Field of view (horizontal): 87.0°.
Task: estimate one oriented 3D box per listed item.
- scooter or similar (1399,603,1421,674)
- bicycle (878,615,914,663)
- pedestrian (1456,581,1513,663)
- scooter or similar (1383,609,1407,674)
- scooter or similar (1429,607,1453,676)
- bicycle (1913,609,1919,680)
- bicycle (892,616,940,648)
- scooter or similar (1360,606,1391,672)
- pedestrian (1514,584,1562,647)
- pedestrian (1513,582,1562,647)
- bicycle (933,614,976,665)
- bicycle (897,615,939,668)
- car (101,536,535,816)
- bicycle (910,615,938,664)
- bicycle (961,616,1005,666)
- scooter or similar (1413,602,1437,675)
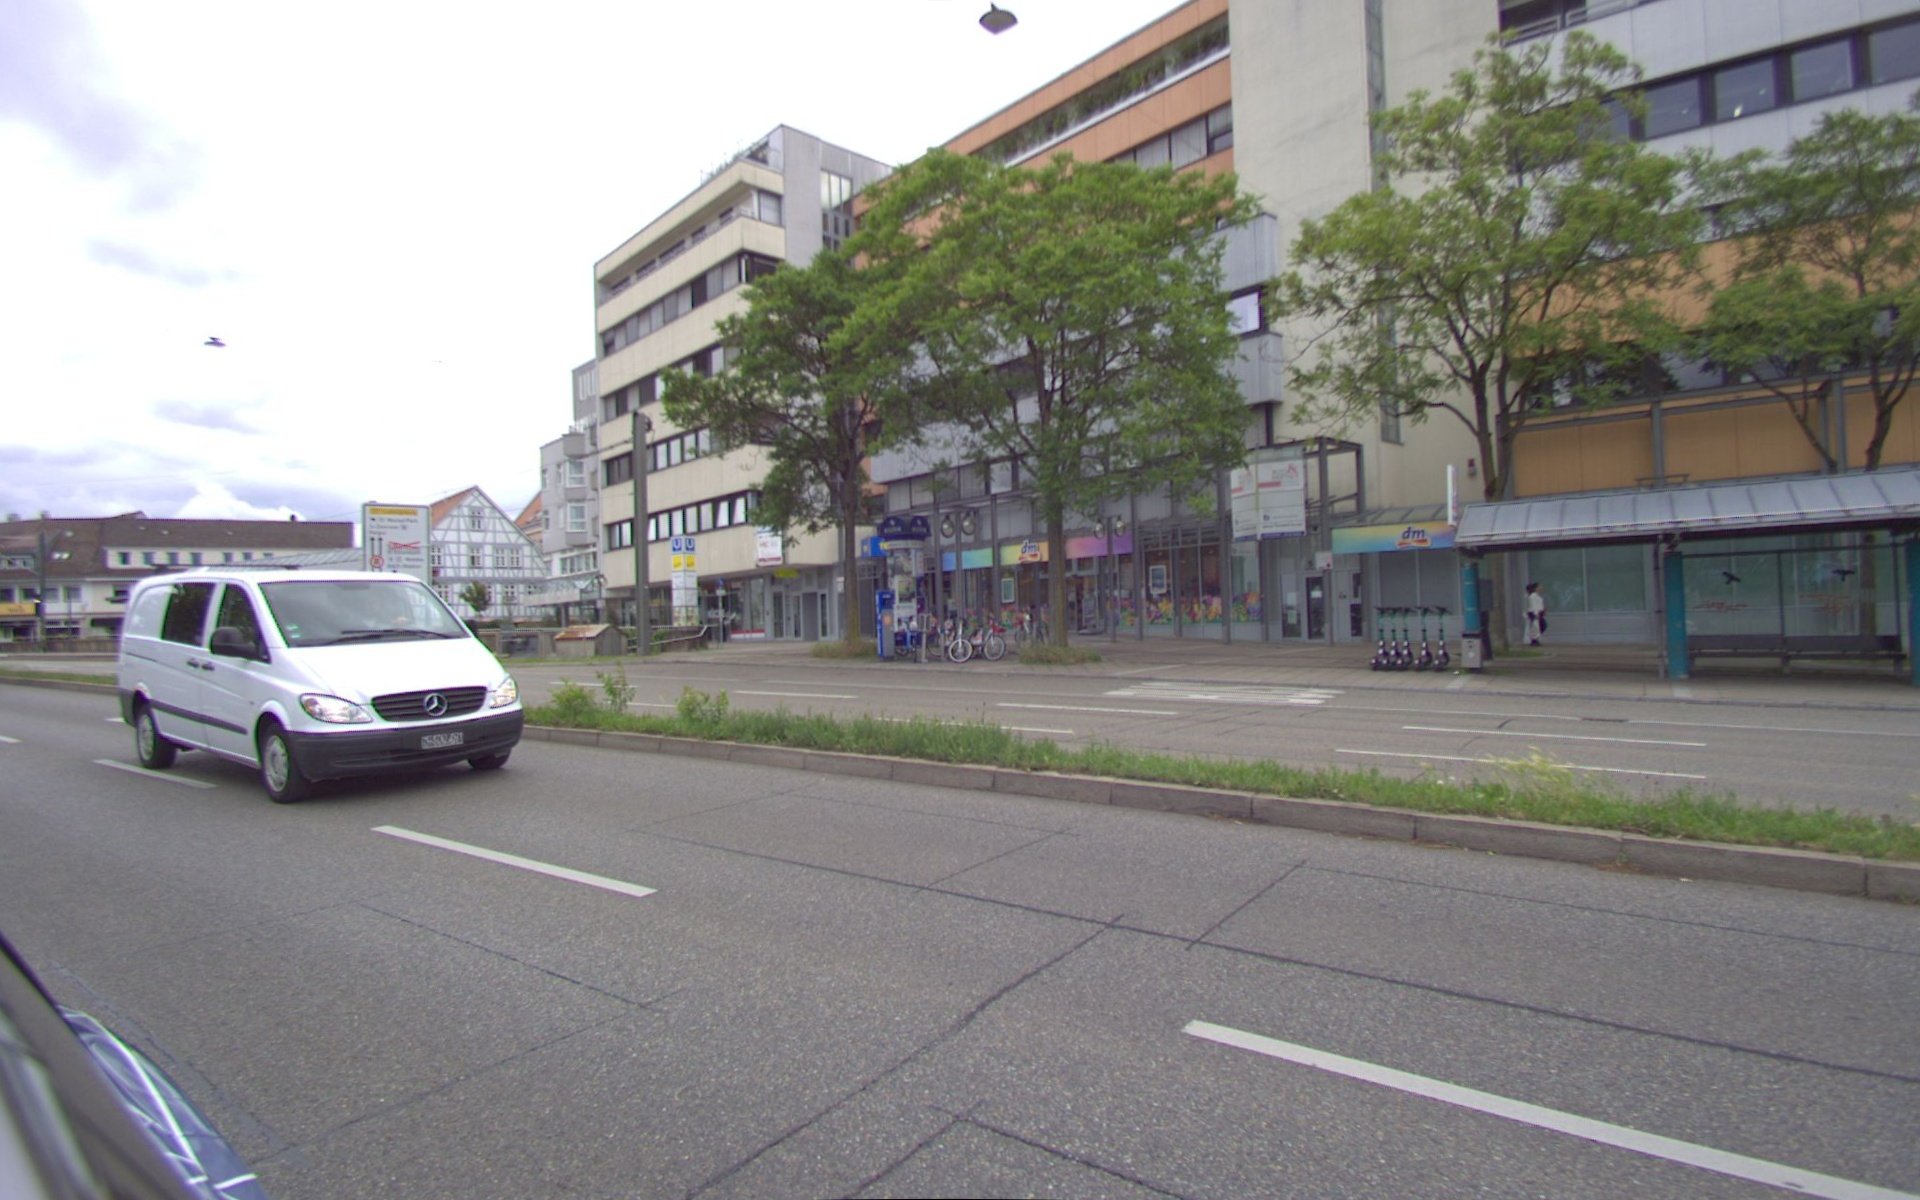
[{"bbox_3d":[9.162,0.764,20.600,0.221,1.395,1.192,-1,-1,32],"label":"scooter or similar"},{"bbox_3d":[-1.766,1.052,27.765,0.616,1.263,1.688,-1,-1,-16],"label":"bicycle"},{"bbox_3d":[11.714,0.486,22.608,0.995,1.795,0.726,-2,-1,36],"label":"pedestrian"},{"bbox_3d":[8.912,0.829,20.714,0.267,1.305,1.119,-1,-1,32],"label":"scooter or similar"},{"bbox_3d":[9.662,0.815,20.330,0.259,1.330,1.192,-1,-1,32],"label":"scooter or similar"},{"bbox_3d":[15.873,0.768,15.860,0.707,1.162,2.055,-1,2,24],"label":"bicycle"},{"bbox_3d":[-1.851,1.331,42.474,1.941,1.329,0.707,0,-1,-34],"label":"bicycle"},{"bbox_3d":[8.583,0.795,20.868,0.338,1.279,1.311,-1,0,32],"label":"scooter or similar"},{"bbox_3d":[15.184,0.415,26.587,0.995,1.630,0.726,-2,-1,36],"label":"pedestrian"},{"bbox_3d":[14.798,0.374,25.940,0.995,1.630,0.726,-2,-1,36],"label":"pedestrian"},{"bbox_3d":[-0.157,1.003,26.086,0.616,1.263,1.689,0,-1,-17],"label":"bicycle"},{"bbox_3d":[-1.080,1.026,25.520,0.616,1.263,1.689,0,-1,-17],"label":"bicycle"},{"bbox_3d":[-6.279,0.577,9.618,5.068,2.029,1.856,-1,0,38],"label":"car"},{"bbox_3d":[-0.993,1.057,27.425,0.425,1.263,1.474,-1,-1,-15],"label":"bicycle"},{"bbox_3d":[0.590,1.061,26.514,0.616,1.263,1.689,0,-1,-17],"label":"bicycle"},{"bbox_3d":[9.415,0.770,20.498,0.259,1.434,1.192,-1,-1,32],"label":"scooter or similar"}]
